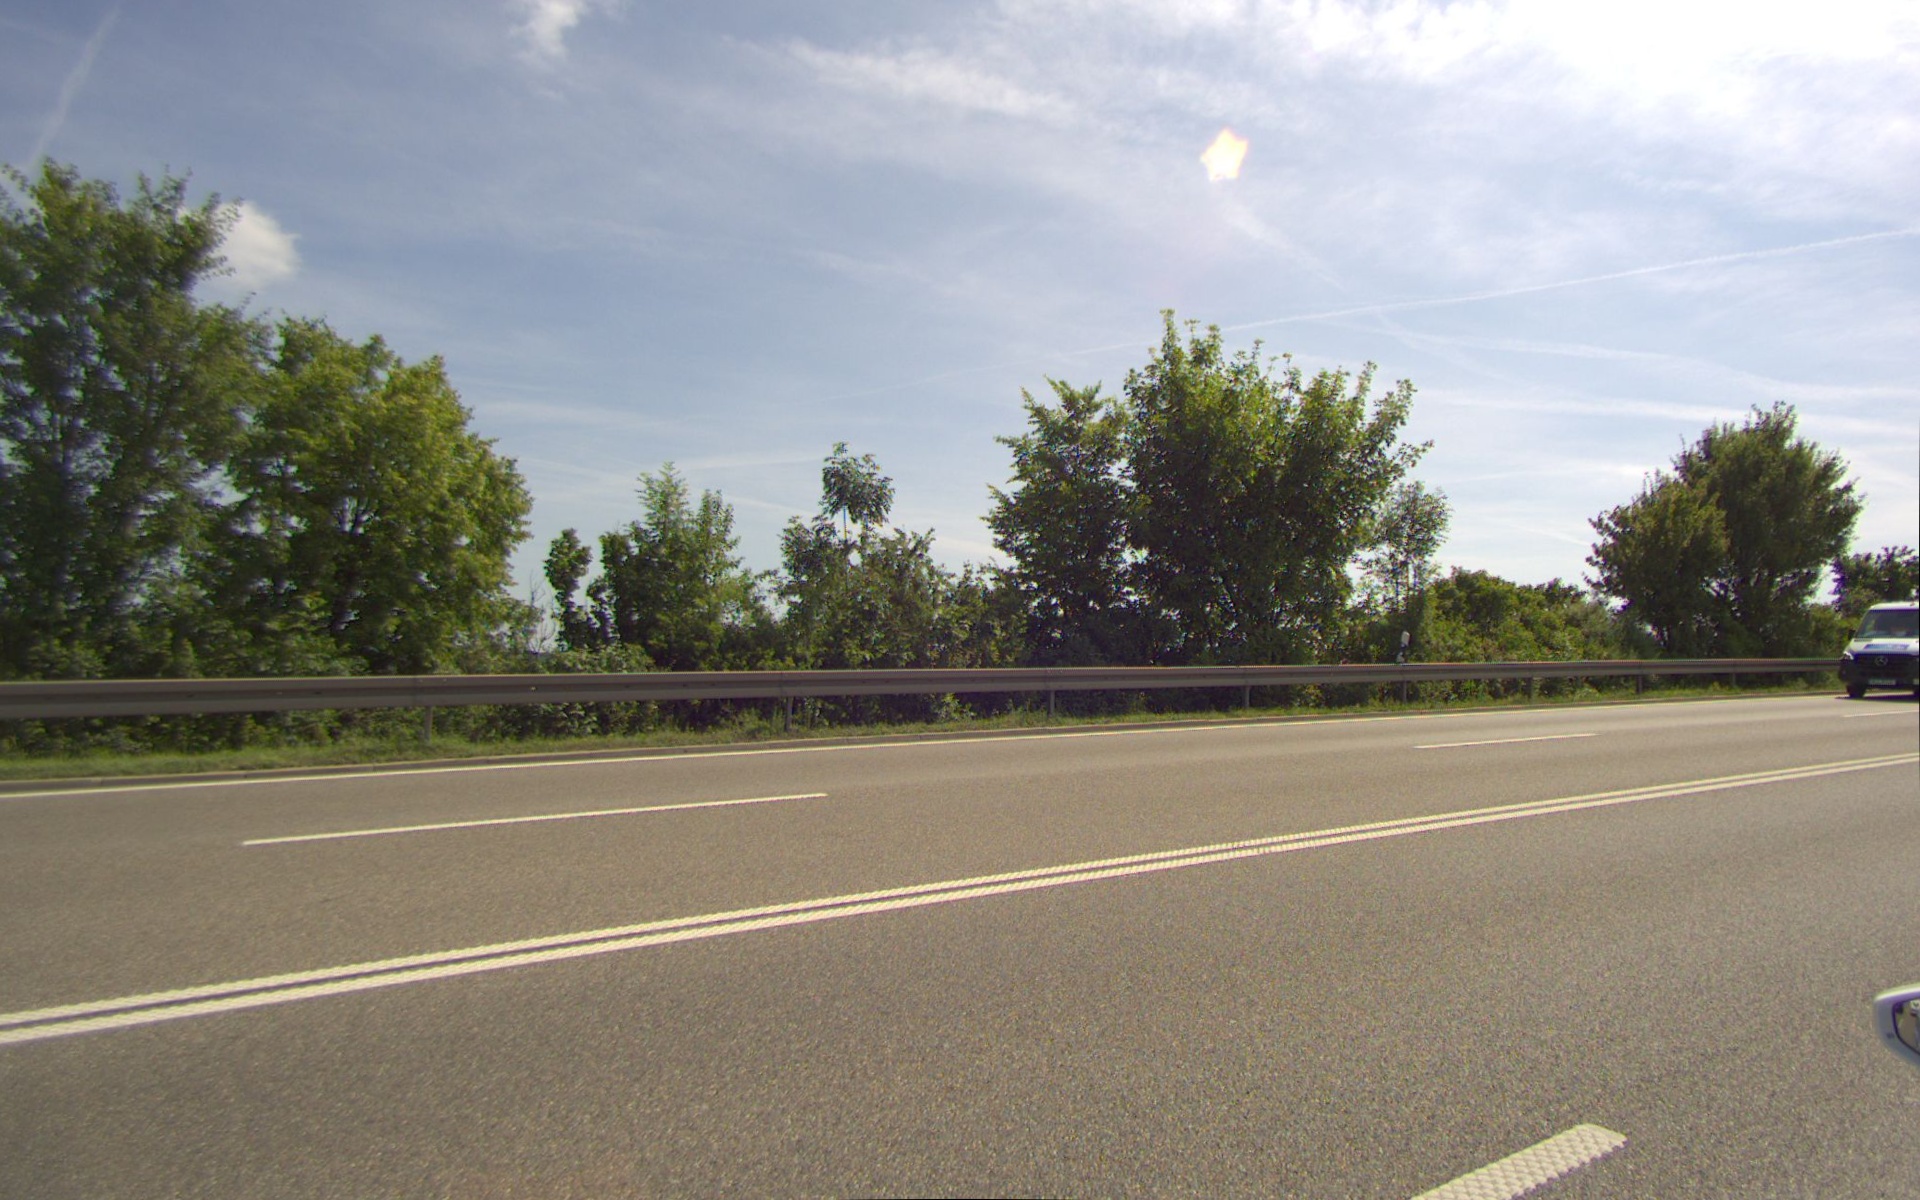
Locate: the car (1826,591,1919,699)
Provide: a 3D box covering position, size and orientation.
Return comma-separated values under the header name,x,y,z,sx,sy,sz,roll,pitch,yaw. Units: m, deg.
name,x,y,z,sx,sy,sz,roll,pitch,yaw
car,23.912,1.109,24.678,5.771,2.426,2.080,2,-2,-28
